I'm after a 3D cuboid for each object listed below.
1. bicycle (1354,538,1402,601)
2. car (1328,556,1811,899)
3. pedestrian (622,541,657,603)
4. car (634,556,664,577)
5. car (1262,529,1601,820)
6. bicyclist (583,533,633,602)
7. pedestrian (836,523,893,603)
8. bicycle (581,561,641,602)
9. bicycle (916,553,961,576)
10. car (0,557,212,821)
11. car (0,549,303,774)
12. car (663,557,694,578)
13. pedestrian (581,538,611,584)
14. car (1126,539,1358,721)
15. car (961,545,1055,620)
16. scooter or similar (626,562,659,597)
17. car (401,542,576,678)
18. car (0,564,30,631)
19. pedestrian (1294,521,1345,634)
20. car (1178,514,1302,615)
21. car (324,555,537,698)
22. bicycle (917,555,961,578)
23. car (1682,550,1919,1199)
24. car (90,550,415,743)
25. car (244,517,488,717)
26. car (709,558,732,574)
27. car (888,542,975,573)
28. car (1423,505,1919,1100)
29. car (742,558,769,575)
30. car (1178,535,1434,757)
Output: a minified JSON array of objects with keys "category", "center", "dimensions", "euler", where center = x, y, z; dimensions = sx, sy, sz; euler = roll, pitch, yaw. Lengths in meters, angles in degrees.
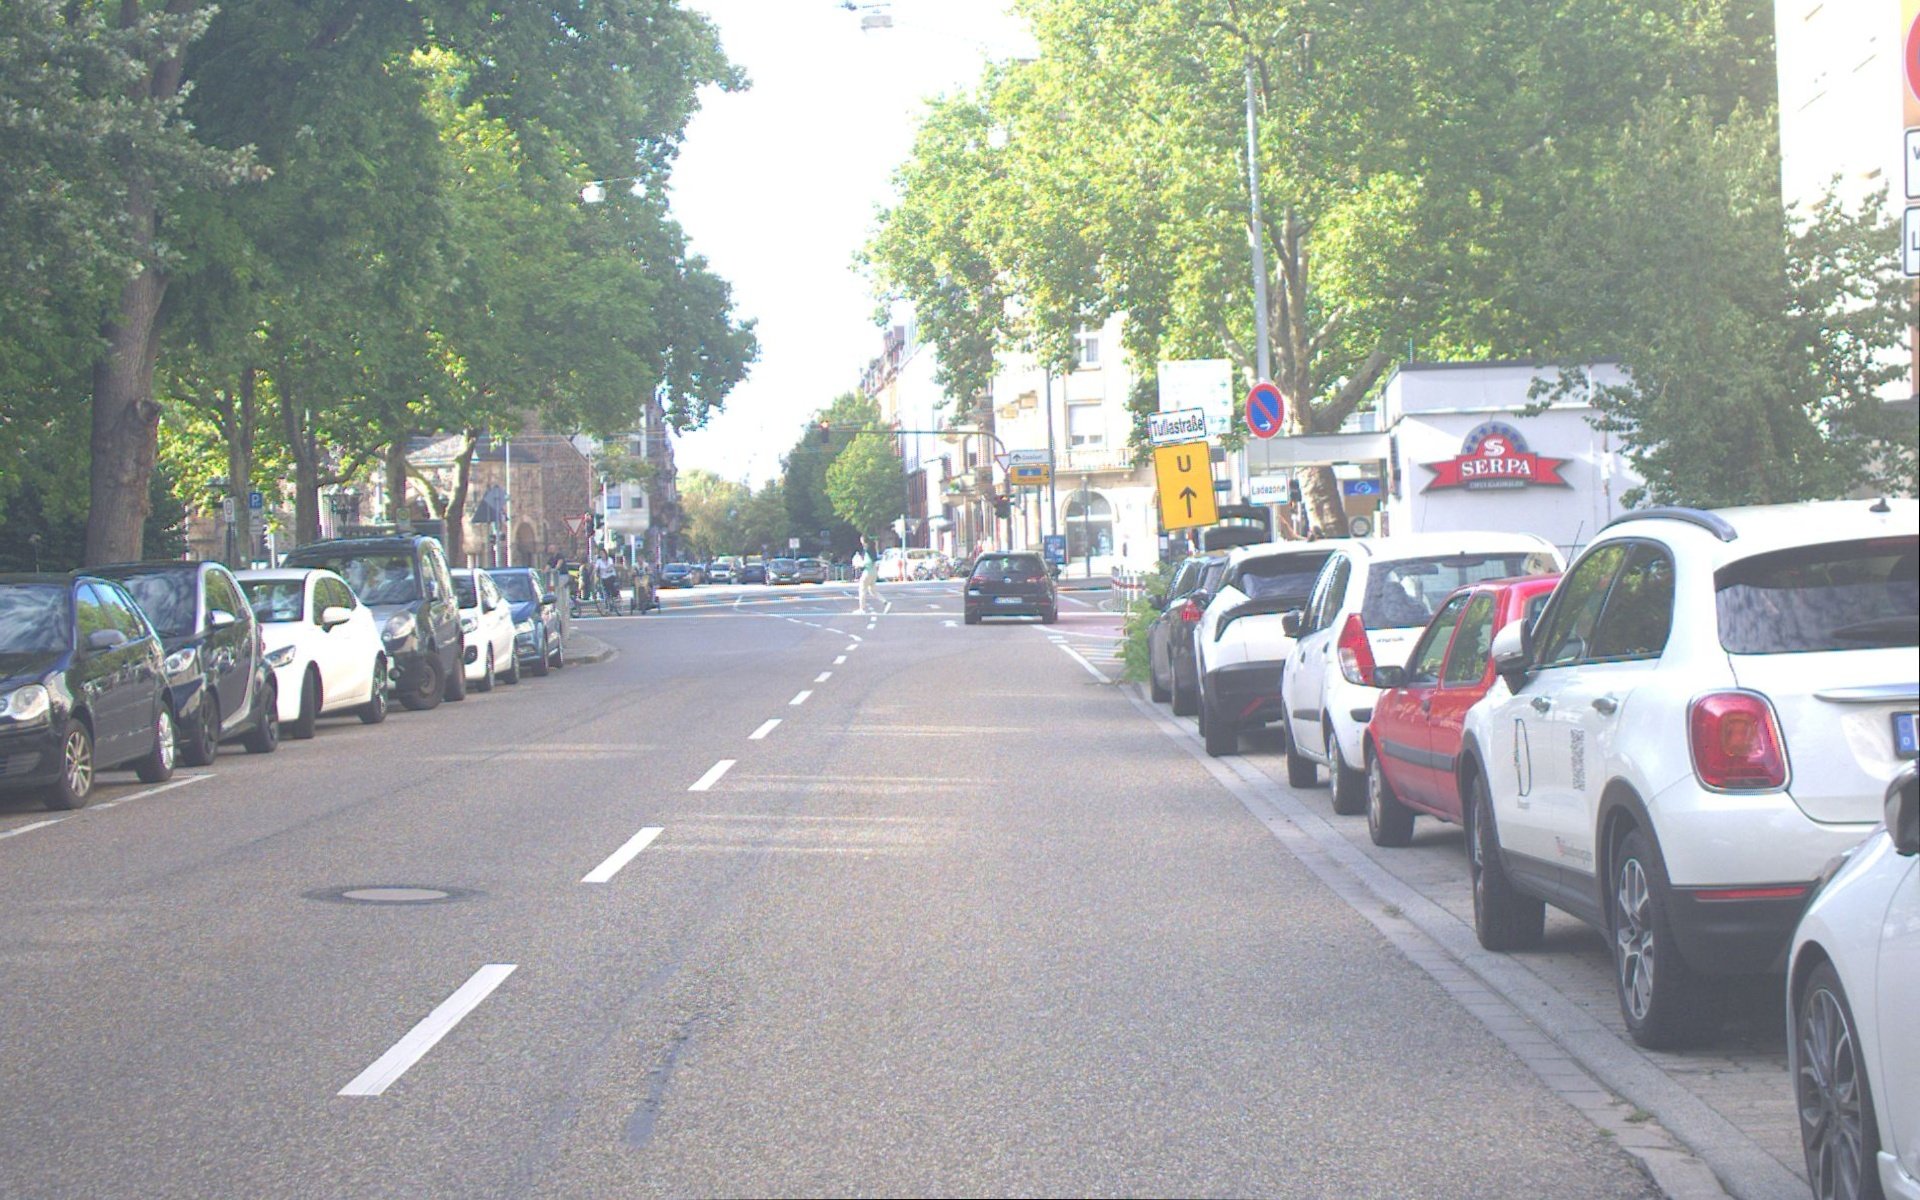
[{"category":"bicycle","center":[8.280,-0.610,68.125],"dimensions":[0.769,1.202,1.815],"euler":[-3,1,3]},{"category":"car","center":[2.791,0.521,16.460],"dimensions":[1.515,1.393,3.676],"euler":[-3,1,-1]},{"category":"pedestrian","center":[-8.638,-0.759,92.701],"dimensions":[0.813,1.648,1.076],"euler":[-1,1,-1]},{"category":"car","center":[-19.040,-2.055,210.478],"dimensions":[1.550,1.225,3.588],"euler":[-1,1,-1]},{"category":"car","center":[2.734,0.379,20.563],"dimensions":[1.551,1.552,3.468],"euler":[-2,1,1]},{"category":"bicyclist","center":[-8.766,-0.812,85.622],"dimensions":[0.812,1.686,1.112],"euler":[0,1,21]},{"category":"pedestrian","center":[-2.133,-0.826,76.637],"dimensions":[1.074,1.747,0.919],"euler":[-1,1,-16]},{"category":"bicycle","center":[-8.698,-0.465,85.749],"dimensions":[0.761,0.990,1.925],"euler":[0,1,19]},{"category":"bicycle","center":[-1.042,-1.709,165.454],"dimensions":[2.022,1.078,0.631],"euler":[-2,1,-13]},{"category":"car","center":[-6.094,0.538,21.794],"dimensions":[1.700,1.482,3.848],"euler":[-4,1,1]},{"category":"car","center":[-6.181,0.423,26.329],"dimensions":[1.553,1.515,3.016],"euler":[-4,1,2]},{"category":"car","center":[-16.356,-1.895,200.107],"dimensions":[1.550,1.225,3.588],"euler":[-1,1,-1]},{"category":"pedestrian","center":[-13.333,-1.417,125.851],"dimensions":[0.781,1.656,0.778],"euler":[-1,1,20]},{"category":"car","center":[2.568,0.228,32.190],"dimensions":[1.690,1.523,4.238],"euler":[-2,1,-1]},{"category":"car","center":[0.926,-0.374,67.821],"dimensions":[1.751,1.409,4.000],"euler":[-1,1,0]},{"category":"scooter or similar","center":[-8.656,-0.571,93.829],"dimensions":[0.805,0.919,1.014],"euler":[-1,1,-2]},{"category":"car","center":[-6.231,0.094,45.783],"dimensions":[1.799,1.614,3.803],"euler":[-4,1,-1]},{"category":"car","center":[-22.271,-0.022,75.619],"dimensions":[1.593,1.472,3.702],"euler":[-1,1,21]},{"category":"pedestrian","center":[5.297,-0.340,50.651],"dimensions":[0.652,1.639,0.743],"euler":[-1,1,0]},{"category":"car","center":[4.259,-0.559,52.833],"dimensions":[1.761,1.407,4.232],"euler":[-3,1,4]},{"category":"car","center":[-6.294,0.278,41.210],"dimensions":[1.799,1.488,3.803],"euler":[-4,1,1]},{"category":"bicycle","center":[-1.004,-1.606,164.824],"dimensions":[2.022,1.078,0.620],"euler":[-2,1,-13]},{"category":"car","center":[2.594,0.636,6.044],"dimensions":[1.728,1.482,4.641],"euler":[-3,1,2]},{"category":"car","center":[-6.222,0.359,30.718],"dimensions":[1.694,1.488,4.332],"euler":[-3,1,4]},{"category":"car","center":[-6.130,0.130,35.915],"dimensions":[1.723,1.876,4.192],"euler":[-3,1,0]},{"category":"car","center":[-18.005,-2.562,258.474],"dimensions":[1.550,1.225,3.588],"euler":[-1,1,-1]},{"category":"car","center":[-1.408,-2.069,167.218],"dimensions":[3.986,1.415,2.000],"euler":[-2,1,-6]},{"category":"car","center":[2.718,0.500,11.352],"dimensions":[1.728,1.575,4.117],"euler":[-3,1,0]},{"category":"car","center":[-14.869,-2.449,250.662],"dimensions":[1.778,1.225,3.588],"euler":[-1,1,-1]},{"category":"car","center":[2.575,0.287,26.380],"dimensions":[1.690,1.523,4.237],"euler":[-2,1,3]}]
